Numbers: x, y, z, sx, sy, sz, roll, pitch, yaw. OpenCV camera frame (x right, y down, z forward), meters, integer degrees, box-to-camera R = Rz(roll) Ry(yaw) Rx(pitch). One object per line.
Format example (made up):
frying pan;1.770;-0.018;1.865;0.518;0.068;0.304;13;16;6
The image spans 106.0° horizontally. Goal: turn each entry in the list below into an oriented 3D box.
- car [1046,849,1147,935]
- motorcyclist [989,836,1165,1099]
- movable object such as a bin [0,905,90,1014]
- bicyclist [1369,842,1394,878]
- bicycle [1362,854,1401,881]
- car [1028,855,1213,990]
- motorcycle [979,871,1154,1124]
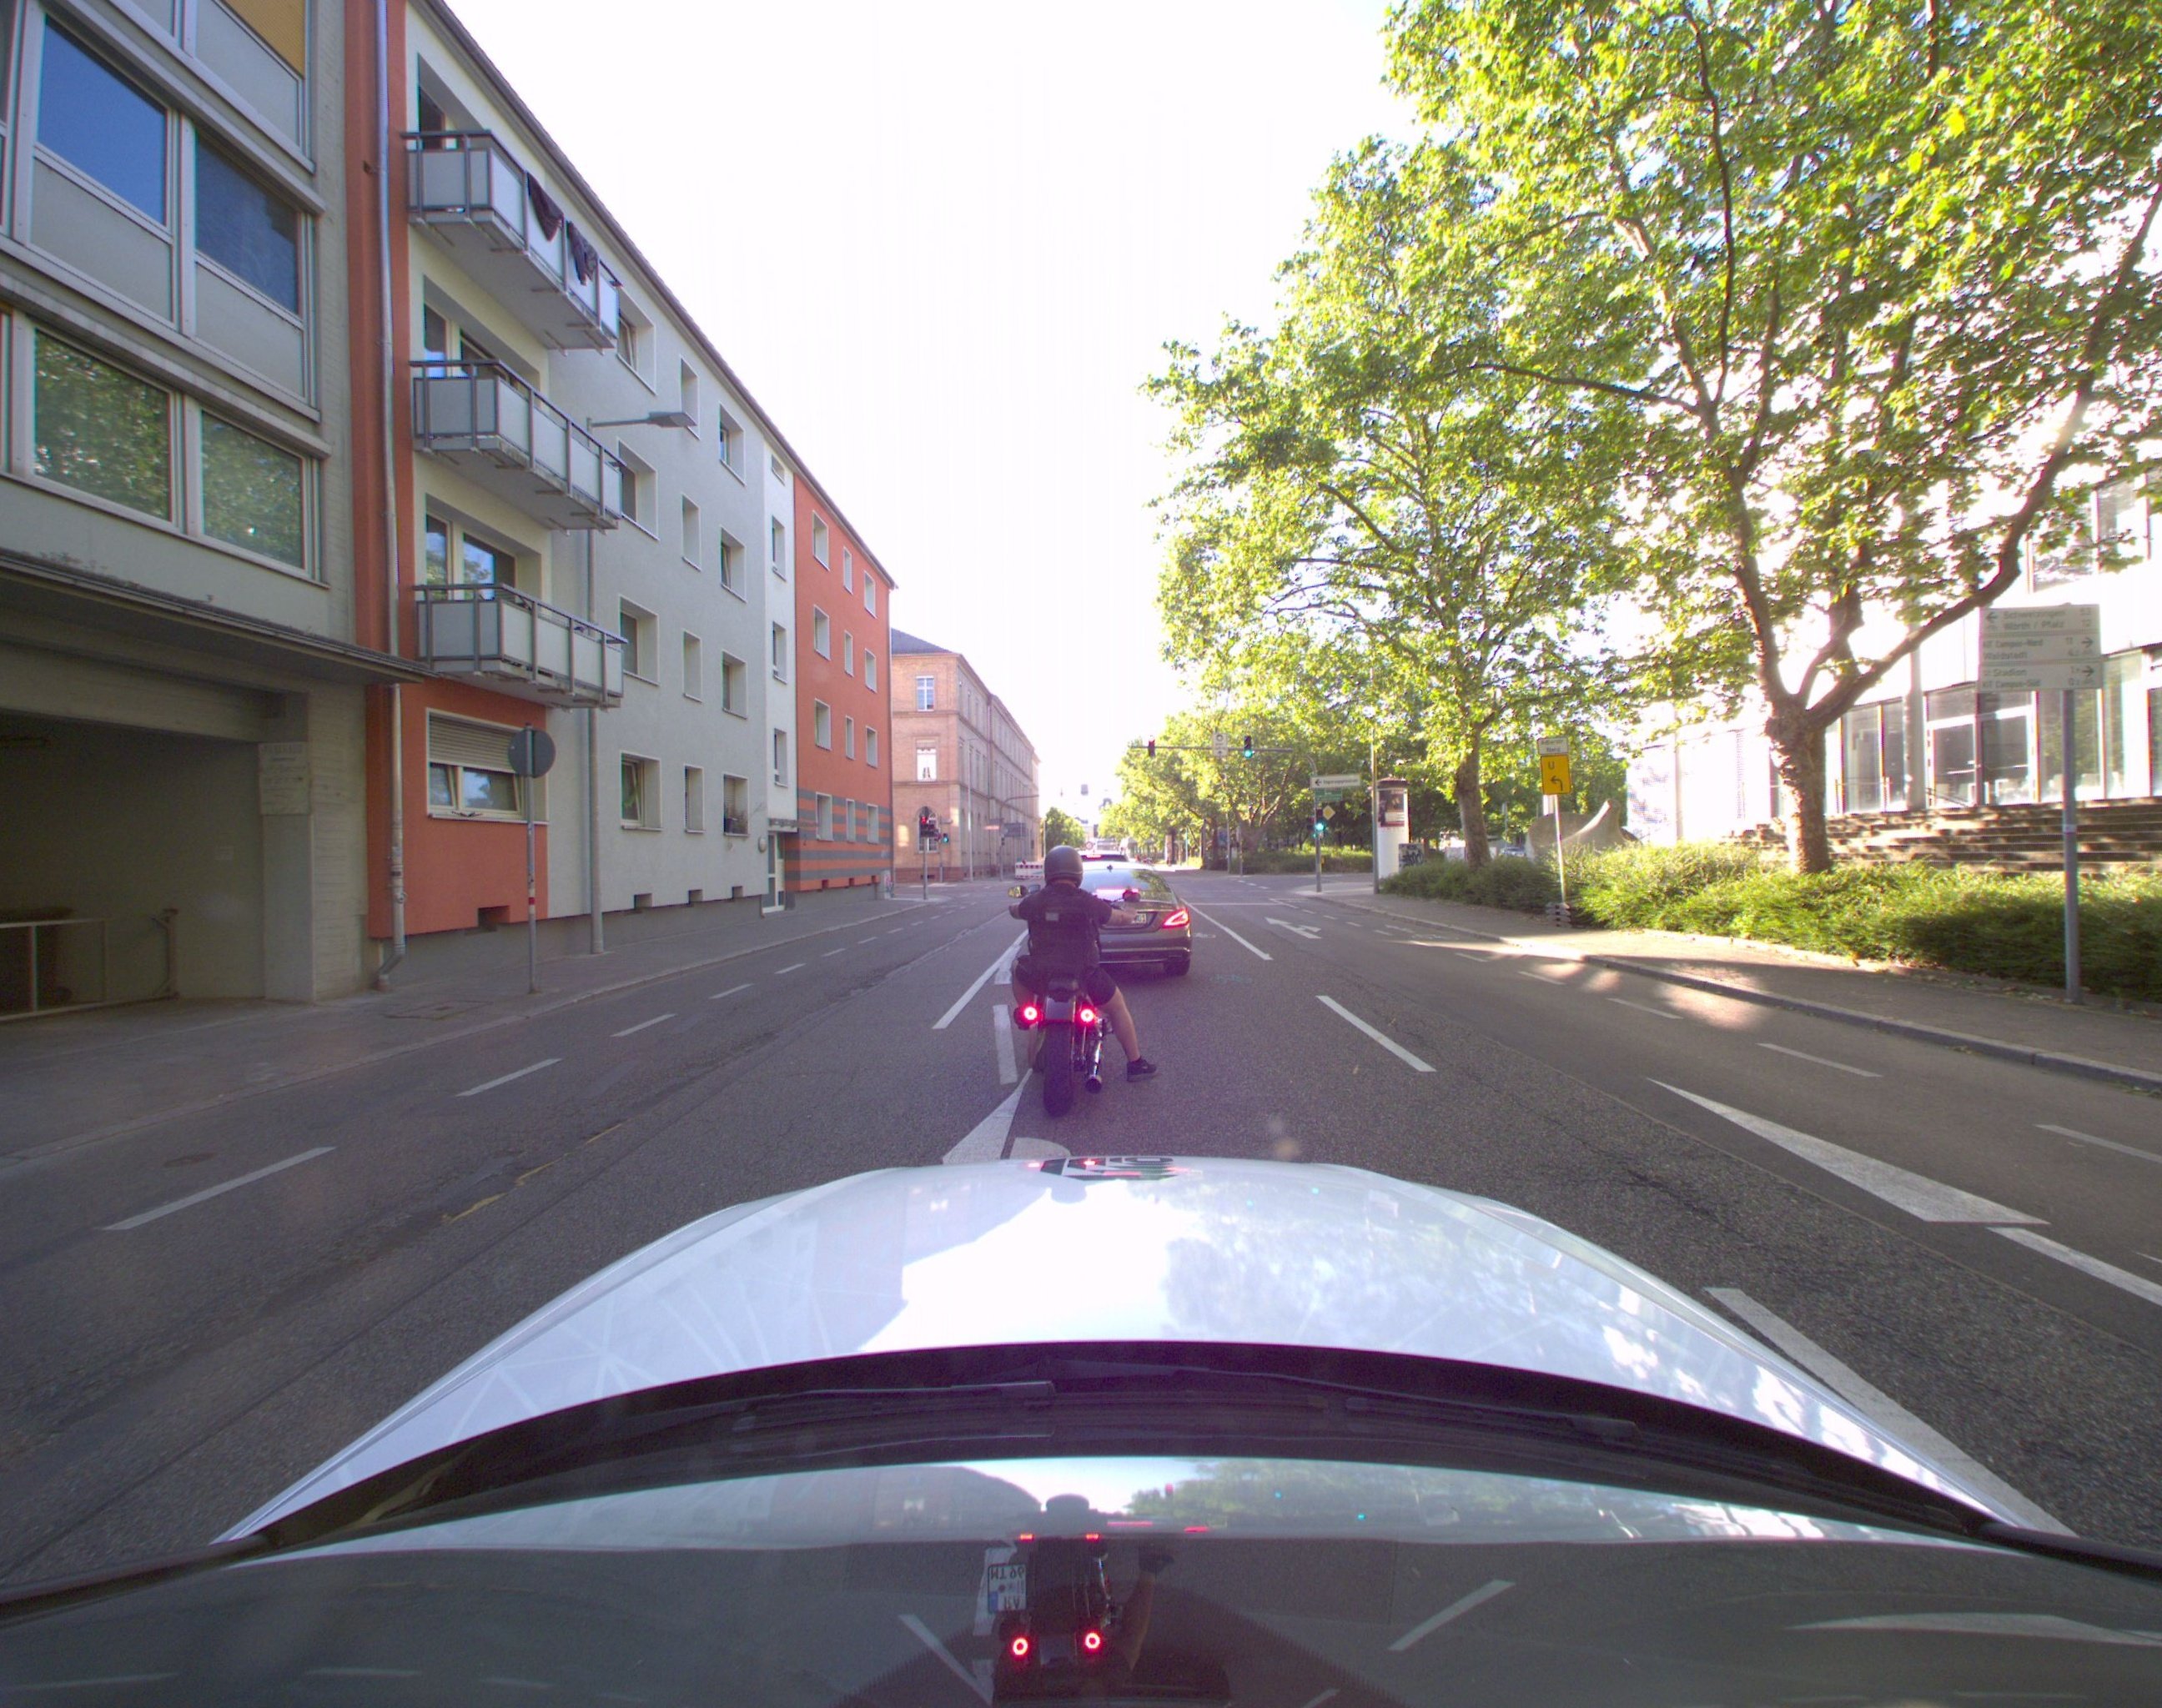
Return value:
car;0.264;0.696;16.885;1.808;1.536;3.847;-1;0;-1
motorcyclist;-0.011;0.688;5.380;1.057;1.582;0.908;0;-1;1
movable object such as a bin;-11.330;1.096;8.638;0.736;1.074;0.716;0;-1;2
bicyclist;13.477;0.253;36.570;0.715;1.582;0.934;0;-1;-7
bicycle;13.473;0.606;36.548;0.715;1.172;2.171;0;-1;-7
car;0.316;0.758;11.220;1.900;1.441;4.279;-1;0;-6
motorcycle;-0.046;0.813;5.650;0.958;1.357;2.321;0;-1;2
